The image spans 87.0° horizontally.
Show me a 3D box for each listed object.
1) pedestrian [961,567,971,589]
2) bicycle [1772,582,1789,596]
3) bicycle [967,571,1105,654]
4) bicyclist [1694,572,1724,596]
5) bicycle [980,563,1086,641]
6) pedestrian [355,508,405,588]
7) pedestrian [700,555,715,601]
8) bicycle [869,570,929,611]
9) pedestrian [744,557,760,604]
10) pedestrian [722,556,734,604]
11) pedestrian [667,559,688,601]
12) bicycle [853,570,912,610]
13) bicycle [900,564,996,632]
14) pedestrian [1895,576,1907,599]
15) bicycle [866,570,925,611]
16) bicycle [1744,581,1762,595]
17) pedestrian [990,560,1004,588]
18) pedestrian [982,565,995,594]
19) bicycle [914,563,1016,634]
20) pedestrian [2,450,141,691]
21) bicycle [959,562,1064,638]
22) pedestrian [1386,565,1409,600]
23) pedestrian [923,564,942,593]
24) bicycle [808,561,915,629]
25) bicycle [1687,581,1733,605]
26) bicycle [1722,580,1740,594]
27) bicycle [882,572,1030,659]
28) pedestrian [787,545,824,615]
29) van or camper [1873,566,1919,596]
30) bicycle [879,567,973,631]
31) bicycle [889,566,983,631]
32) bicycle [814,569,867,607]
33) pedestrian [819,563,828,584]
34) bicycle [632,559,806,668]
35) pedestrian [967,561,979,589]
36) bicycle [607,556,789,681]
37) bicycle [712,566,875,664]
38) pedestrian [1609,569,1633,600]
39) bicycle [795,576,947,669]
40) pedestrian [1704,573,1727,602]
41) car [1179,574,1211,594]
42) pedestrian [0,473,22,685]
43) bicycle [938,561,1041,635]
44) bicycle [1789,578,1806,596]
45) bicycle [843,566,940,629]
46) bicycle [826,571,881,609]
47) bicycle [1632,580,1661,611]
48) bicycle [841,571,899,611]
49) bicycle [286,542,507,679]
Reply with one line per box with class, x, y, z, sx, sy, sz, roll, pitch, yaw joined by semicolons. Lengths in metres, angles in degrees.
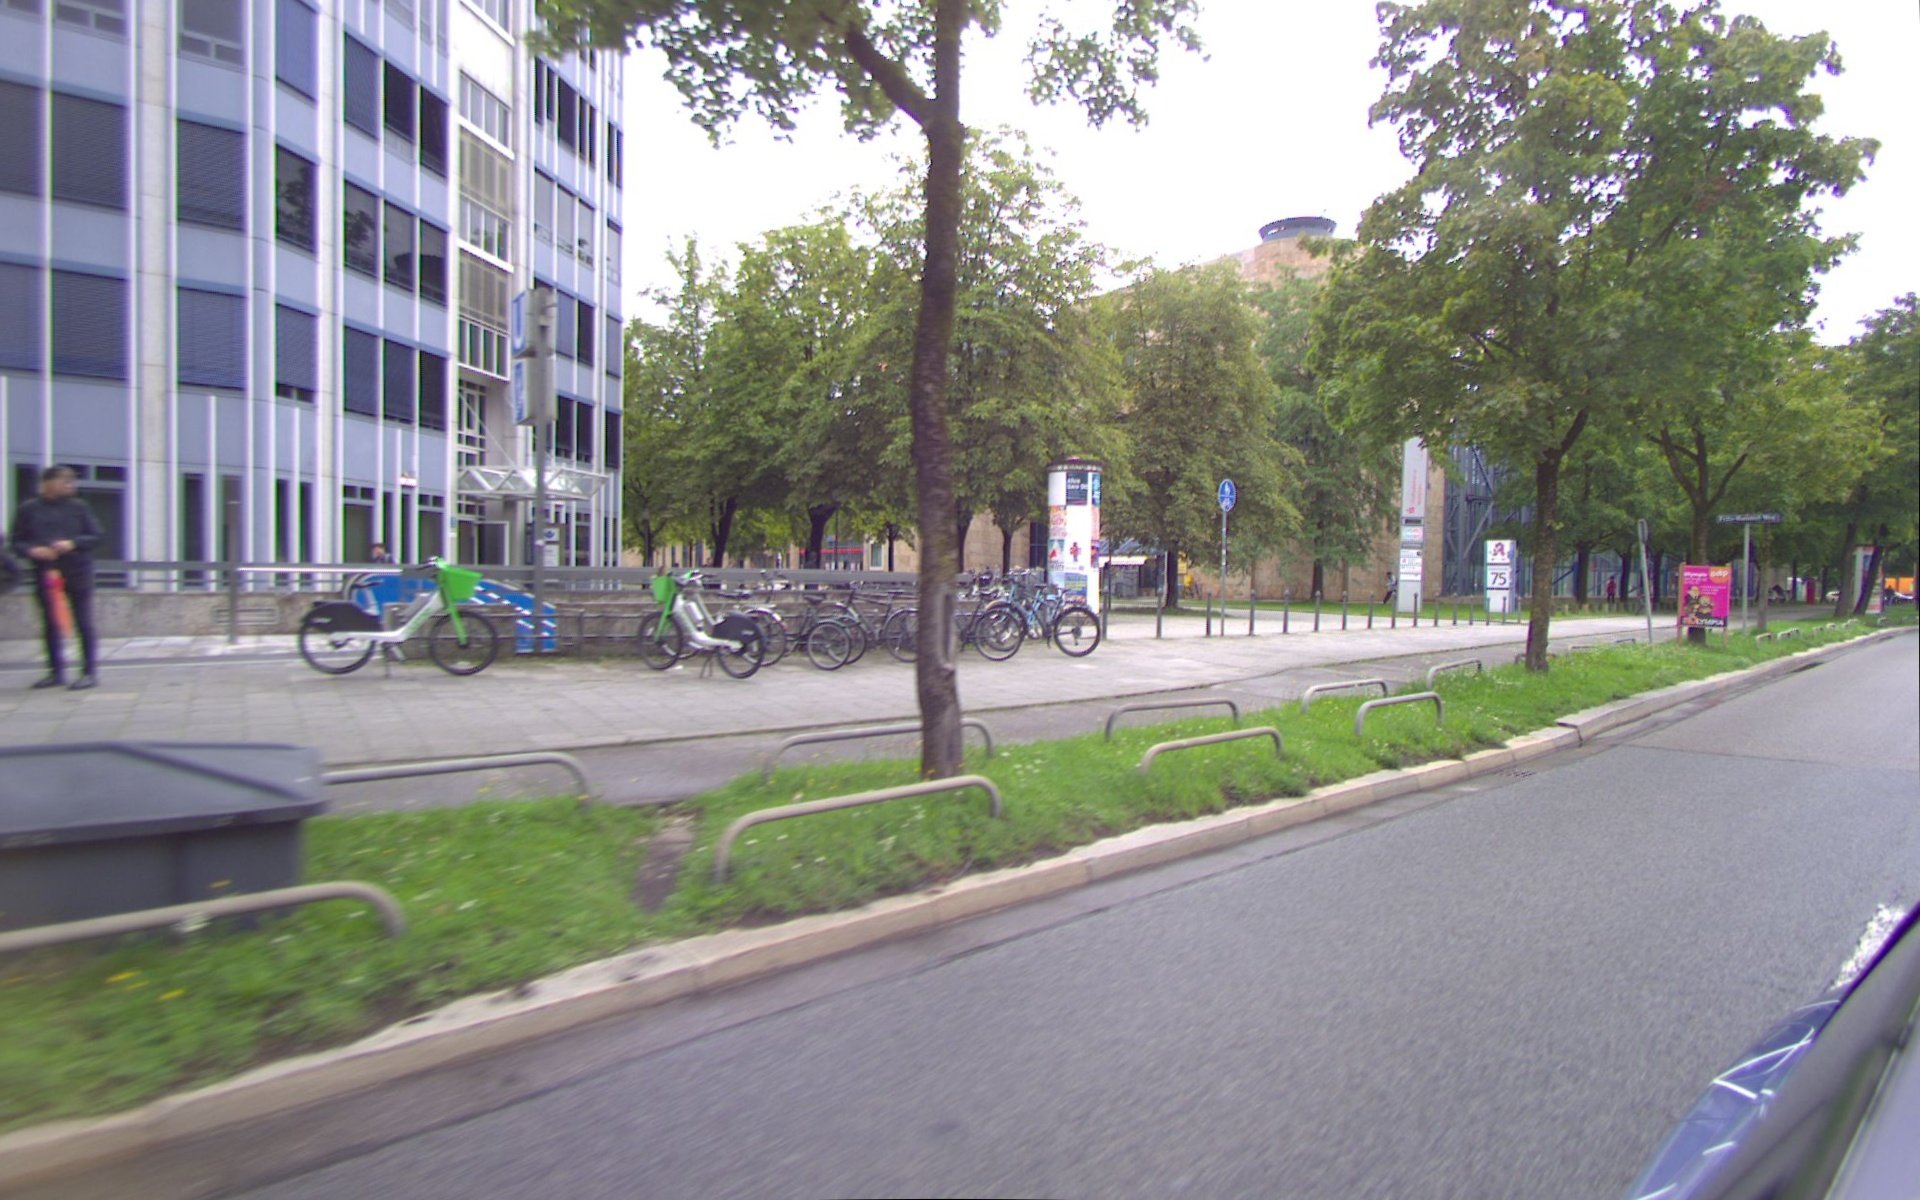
pedestrian;0.375;-1.369;62.921;0.418;1.299;0.507;2;2;39
bicycle;59.402;-0.806;73.271;2.102;0.952;0.512;0;2;-38
bicycle;1.161;0.171;15.273;1.999;1.112;0.579;3;4;9
bicyclist;37.824;-0.818;51.089;0.942;1.143;0.727;1;2;3
bicycle;1.220;0.020;16.619;1.919;1.203;0.489;0;2;-40
pedestrian;-12.690;-1.130;22.140;0.688;1.699;0.651;1;1;10
pedestrian;-8.396;-0.720;33.624;0.386;1.510;0.385;0;1;-29
bicycle;-1.929;-0.306;32.320;2.022;1.276;0.607;-1;2;-45
pedestrian;-7.038;-0.662;34.256;0.401;1.591;0.348;0;2;-40
pedestrian;-7.789;-0.662;33.967;0.346;1.591;0.310;1;1;-23
pedestrian;-11.423;-0.806;40.902;0.614;1.678;0.592;0;2;-39
bicycle;-2.542;-0.328;33.427;0.508;1.276;2.141;2;2;43
bicycle;-0.207;-0.054;18.770;1.919;1.203;0.446;0;2;-40
pedestrian;70.282;-0.941;75.599;0.649;1.743;0.528;-1;4;-41
bicycle;-2.098;-0.321;33.055;0.508;1.276;2.141;2;2;43
bicycle;57.738;-0.874;73.698;1.730;0.952;0.619;0;2;-38
pedestrian;2.226;-1.571;61.473;0.582;1.699;0.563;0;2;-38
pedestrian;1.707;-1.242;60.735;0.581;1.699;0.504;1;1;-16
bicycle;0.106;-0.041;17.919;1.919;1.203;0.489;0;2;-40
pedestrian;-7.461;-0.245;8.533;0.734;1.923;0.654;0;1;-27
bicycle;0.882;-0.012;17.015;1.919;1.203;0.489;0;2;-40
pedestrian;21.692;-0.872;50.175;0.862;1.666;0.572;1;1;1
pedestrian;-1.606;-1.253;58.991;0.850;1.699;0.588;0;2;-37
bicycle;-1.983;-0.120;20.735;0.508;1.310;2.440;2;2;43
bicycle;37.871;-0.338;51.099;1.734;1.143;0.726;1;2;3
bicycle;56.480;-0.939;74.152;2.027;0.952;0.572;-1;2;-38
bicycle;-0.048;0.202;14.349;2.007;1.102;0.604;2;4;10
pedestrian;-4.057;-0.522;26.538;0.754;1.794;0.690;1;1;-26
van or camper;120.459;-2.269;125.179;3.268;3.597;10.875;0;2;-43
bicycle;-0.641;-0.042;20.036;0.511;1.203;2.108;2;2;43
bicycle;-0.434;-0.044;19.475;0.445;1.203;2.108;2;2;43
bicycle;-4.103;-0.415;34.903;0.508;1.276;1.924;2;2;43
pedestrian;-10.588;-2.053;78.485;0.504;1.588;0.421;0;1;-28
bicycle;-2.905;0.143;12.239;1.923;1.122;0.579;5;2;10
pedestrian;0.792;-1.490;60.601;0.585;1.699;0.501;1;1;15
bicycle;-2.924;0.176;11.263;1.931;1.203;0.593;5;2;20
bicycle;-2.116;0.173;12.899;1.923;1.096;0.595;4;2;10
pedestrian;37.372;-0.876;57.231;0.845;1.665;0.740;0;3;-27
bicycle;-1.191;0.283;13.618;1.923;1.078;0.579;4;3;10
pedestrian;44.038;-0.749;58.972;0.631;1.665;0.741;1;3;-11
car;12.743;-0.866;54.852;2.042;1.026;0.677;-3;3;-42
pedestrian;-8.200;-0.172;8.136;0.734;1.735;0.787;1;1;-22
bicycle;0.526;-0.044;17.476;1.919;1.203;0.489;0;2;-40
bicycle;60.080;-0.929;72.614;2.103;1.207;0.512;-1;2;-38
bicycle;-1.347;-0.066;20.290;0.577;1.203;2.108;2;2;43
bicycle;-3.605;-0.346;34.383;0.508;1.276;1.991;2;2;43
bicycle;29.091;-0.217;42.877;1.888;1.265;0.621;-1;2;-43
bicycle;-3.002;-0.310;33.967;0.508;1.276;2.141;2;2;43
bicycle;-5.516;0.114;9.975;1.825;1.241;0.532;2;3;-32
